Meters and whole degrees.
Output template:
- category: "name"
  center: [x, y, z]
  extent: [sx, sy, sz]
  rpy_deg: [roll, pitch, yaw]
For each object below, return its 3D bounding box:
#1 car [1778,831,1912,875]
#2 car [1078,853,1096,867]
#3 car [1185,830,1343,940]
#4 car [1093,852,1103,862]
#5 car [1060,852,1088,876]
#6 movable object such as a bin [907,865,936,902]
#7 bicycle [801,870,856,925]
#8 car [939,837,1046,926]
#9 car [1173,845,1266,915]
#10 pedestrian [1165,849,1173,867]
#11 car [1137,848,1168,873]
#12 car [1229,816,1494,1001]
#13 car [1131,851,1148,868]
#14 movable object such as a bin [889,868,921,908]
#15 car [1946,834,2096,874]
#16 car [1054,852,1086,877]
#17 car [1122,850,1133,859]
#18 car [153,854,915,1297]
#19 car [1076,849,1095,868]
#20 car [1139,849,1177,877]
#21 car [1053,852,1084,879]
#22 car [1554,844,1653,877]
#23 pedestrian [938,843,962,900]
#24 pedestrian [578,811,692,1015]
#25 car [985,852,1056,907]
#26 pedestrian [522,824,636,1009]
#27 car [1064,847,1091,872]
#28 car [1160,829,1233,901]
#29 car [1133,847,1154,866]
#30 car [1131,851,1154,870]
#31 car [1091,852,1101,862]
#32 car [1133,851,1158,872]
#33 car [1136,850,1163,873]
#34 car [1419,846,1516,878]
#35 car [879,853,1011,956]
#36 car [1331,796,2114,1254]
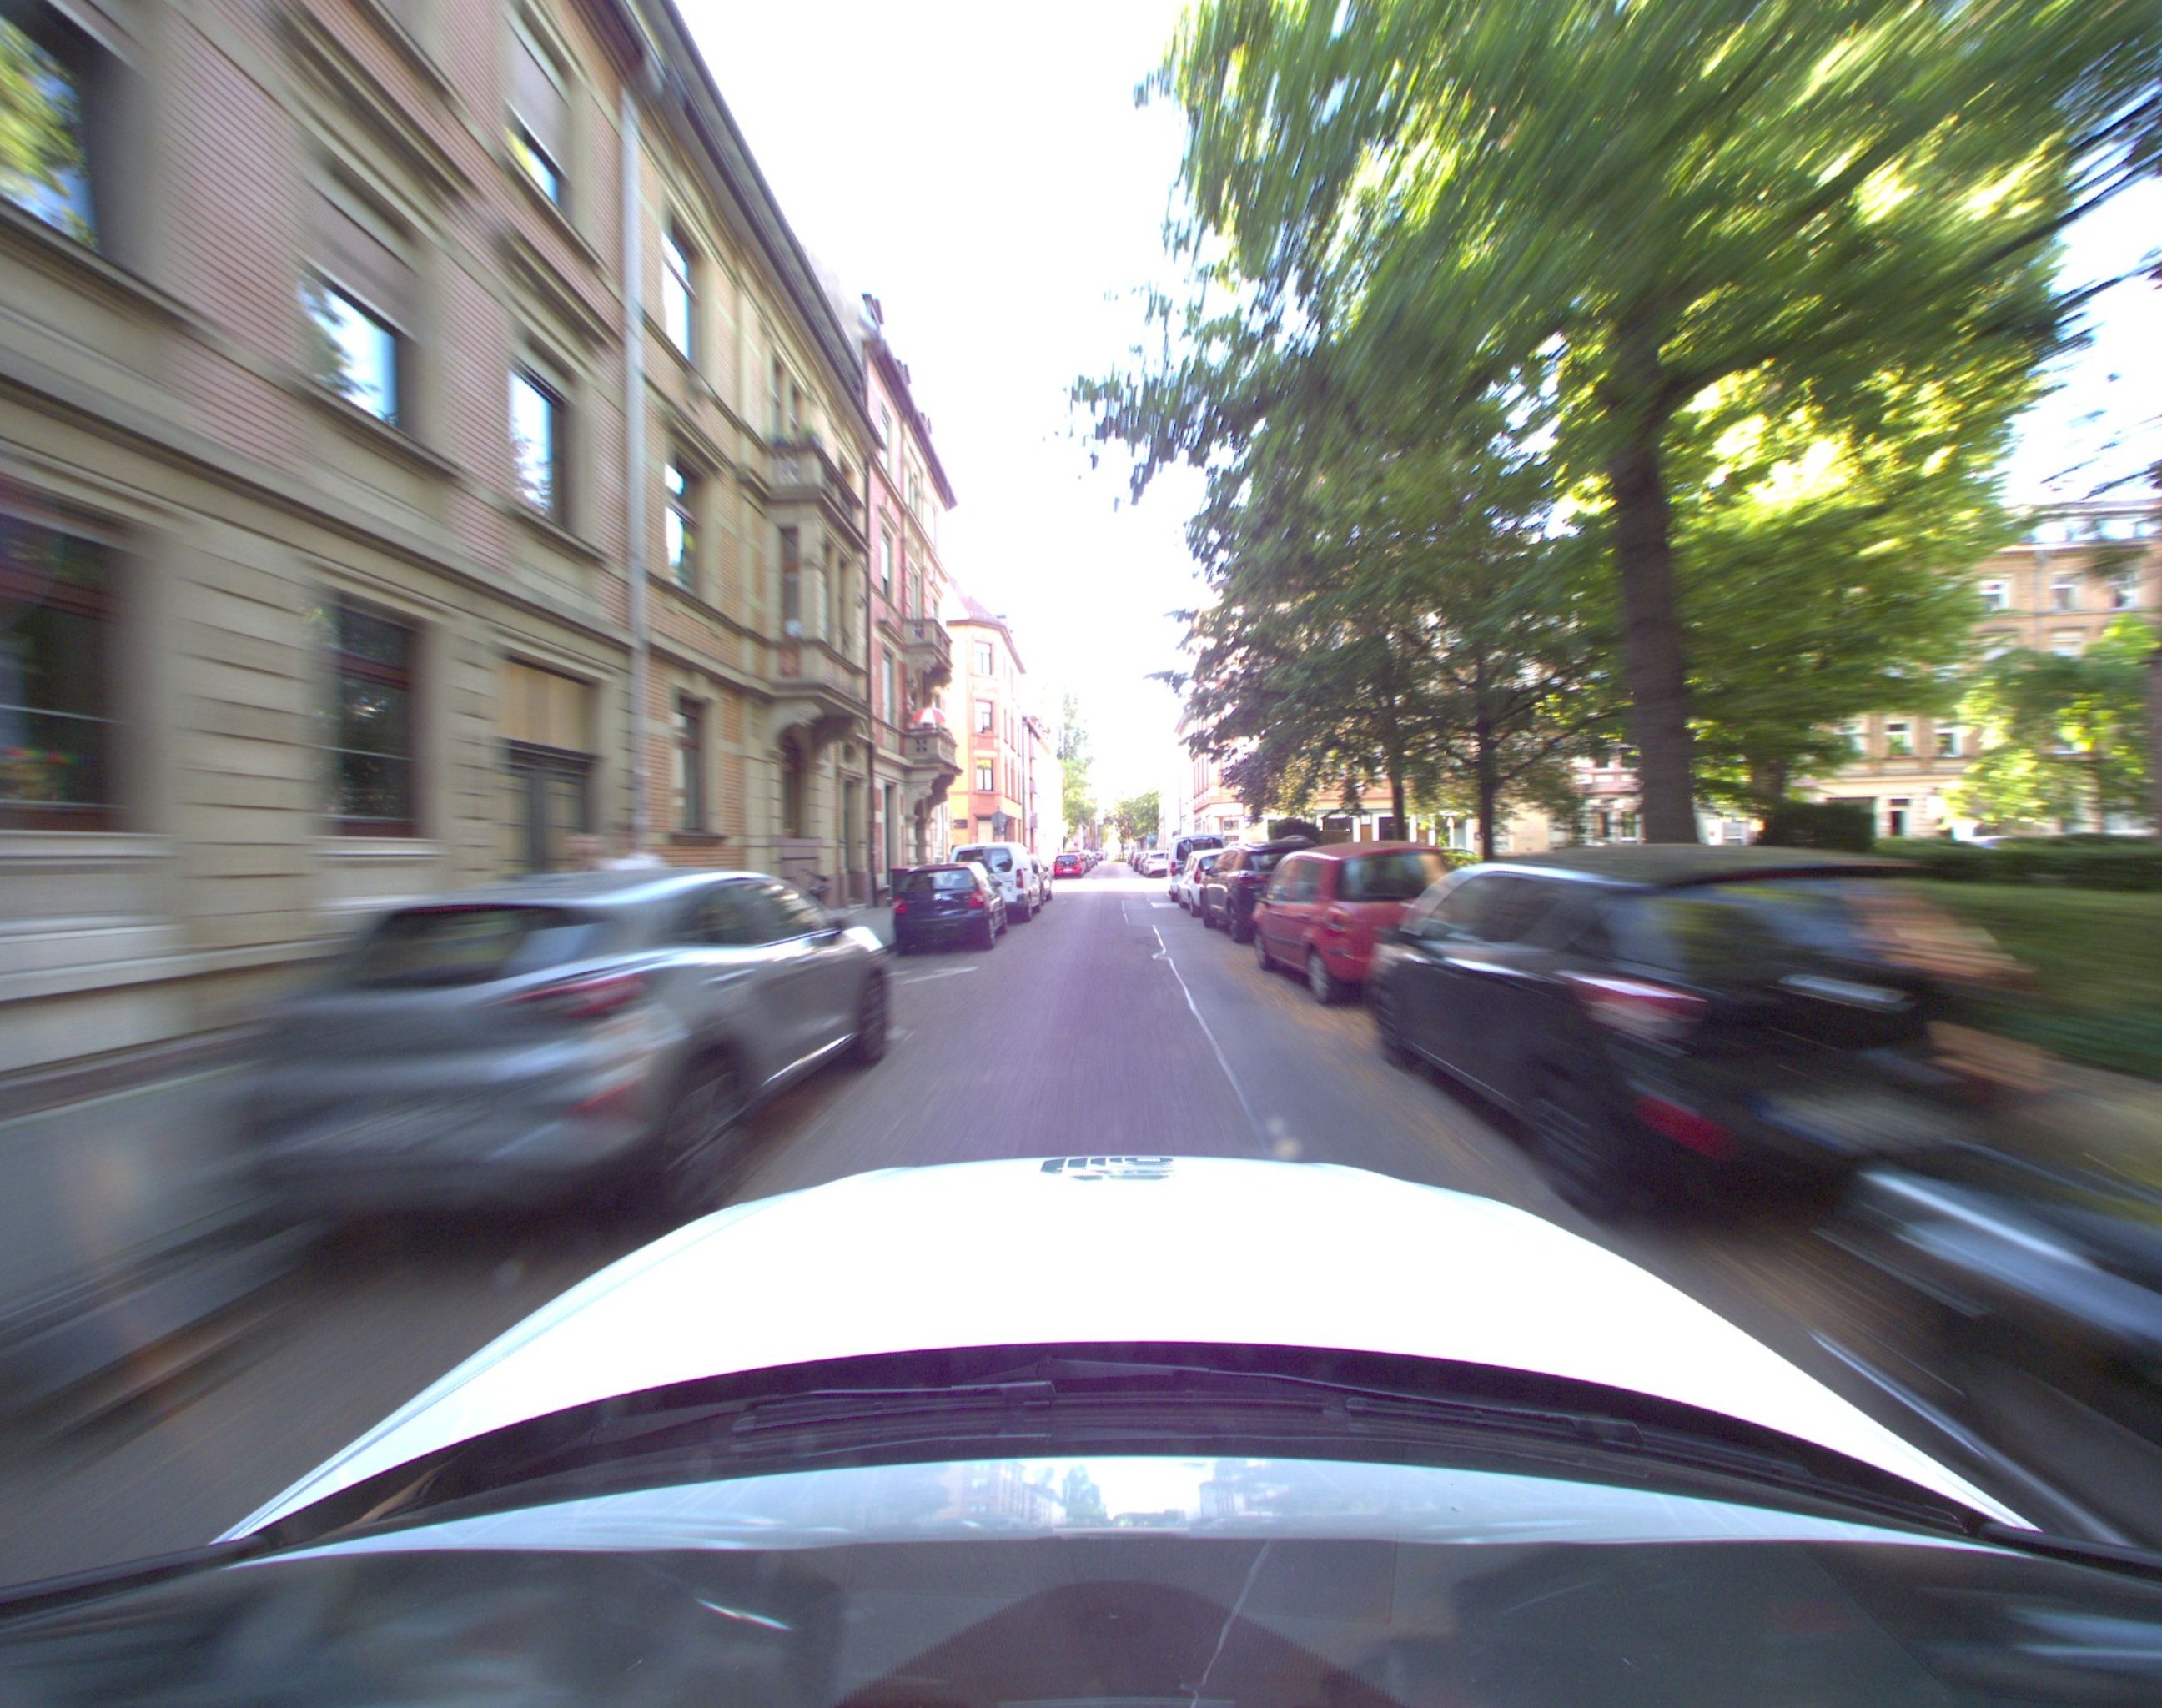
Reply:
- category: "car"
  center: [30.054, -0.014, 32.127]
  extent: [3.510, 1.649, 1.637]
  rpy_deg: [0, -2, 9]
- category: "car"
  center: [0.726, 0.625, 91.991]
  extent: [1.662, 1.469, 3.826]
  rpy_deg: [-3, 0, 5]
- category: "car"
  center: [3.200, 0.519, 15.162]
  extent: [1.735, 1.603, 4.261]
  rpy_deg: [-6, -1, -2]
- category: "car"
  center: [2.920, 0.503, 142.459]
  extent: [1.669, 1.487, 4.096]
  rpy_deg: [-3, 0, 2]
- category: "car"
  center: [-0.491, 0.699, 58.455]
  extent: [1.649, 1.521, 3.948]
  rpy_deg: [-3, 0, 4]
- category: "movable object such as a bin"
  center: [-4.760, 0.876, 24.375]
  extent: [0.635, 1.041, 0.856]
  rpy_deg: [1, 0, 2]
- category: "bicycle"
  center: [-5.130, 0.860, 16.641]
  extent: [0.569, 1.041, 1.547]
  rpy_deg: [1, 0, 2]
- category: "car"
  center: [-1.995, 0.586, 19.714]
  extent: [1.824, 1.811, 4.574]
  rpy_deg: [-3, 0, 2]
- category: "car"
  center: [3.381, 0.586, 20.494]
  extent: [1.713, 1.571, 3.828]
  rpy_deg: [-1, 0, 1]
- category: "pedestrian"
  center: [7.880, 0.351, 72.899]
  extent: [0.683, 1.660, 0.718]
  rpy_deg: [-2, 0, 2]
- category: "car"
  center: [4.712, 0.398, 53.785]
  extent: [1.737, 1.506, 4.022]
  rpy_deg: [-3, 0, 2]
- category: "car"
  center: [3.047, 0.543, 9.749]
  extent: [1.615, 1.624, 3.861]
  rpy_deg: [-6, -1, -2]
- category: "car"
  center: [6.103, 0.550, 85.294]
  extent: [1.669, 1.681, 4.098]
  rpy_deg: [-3, -1, 3]
- category: "movable object such as a bin"
  center: [-4.776, 0.904, 22.179]
  extent: [0.635, 1.041, 0.856]
  rpy_deg: [1, 0, 2]
- category: "car"
  center: [35.970, 0.016, 31.244]
  extent: [3.510, 1.473, 1.637]
  rpy_deg: [0, -2, 9]
- category: "car"
  center: [-0.695, 0.665, 53.634]
  extent: [1.688, 1.521, 4.100]
  rpy_deg: [-3, 0, 4]
- category: "car"
  center: [7.917, 0.063, 138.685]
  extent: [1.669, 1.487, 3.639]
  rpy_deg: [-3, 0, 2]
- category: "car"
  center: [-2.430, 0.812, 5.073]
  extent: [1.760, 1.514, 4.195]
  rpy_deg: [-3, 0, 1]
- category: "car"
  center: [0.446, 0.435, 83.112]
  extent: [1.758, 1.785, 4.040]
  rpy_deg: [-3, 0, 2]
- category: "car"
  center: [4.530, 0.484, 48.190]
  extent: [1.738, 1.506, 4.356]
  rpy_deg: [-3, 0, 0]
- category: "car"
  center: [-0.692, 0.656, 48.834]
  extent: [1.622, 1.481, 3.602]
  rpy_deg: [-3, 0, 2]
- category: "car"
  center: [24.122, 0.318, 37.714]
  extent: [3.510, 1.473, 1.637]
  rpy_deg: [0, -2, 9]
- category: "pedestrian"
  center: [-3.786, 0.511, 23.642]
  extent: [0.546, 1.644, 0.717]
  rpy_deg: [0, -2, 2]
- category: "pedestrian"
  center: [-4.343, 0.553, 7.983]
  extent: [0.576, 1.882, 0.905]
  rpy_deg: [0, -1, 2]
- category: "car"
  center: [-1.783, 0.717, 25.074]
  extent: [1.686, 1.481, 3.974]
  rpy_deg: [-3, 0, 2]
- category: "pedestrian"
  center: [-4.981, 0.602, 8.112]
  extent: [0.698, 1.772, 0.649]
  rpy_deg: [0, -1, 2]
- category: "car"
  center: [-0.235, 0.384, 63.950]
  extent: [1.736, 1.811, 4.677]
  rpy_deg: [-3, 0, 4]
- category: "car"
  center: [3.591, 0.309, 26.017]
  extent: [1.905, 1.998, 4.797]
  rpy_deg: [-3, 0, 4]
- category: "car"
  center: [6.101, 0.254, 79.961]
  extent: [1.670, 1.627, 4.252]
  rpy_deg: [-5, 0, 2]
- category: "car"
  center: [5.151, 0.522, 68.271]
  extent: [1.669, 1.506, 3.939]
  rpy_deg: [-3, 0, 2]
- category: "car"
  center: [2.532, 0.498, 137.330]
  extent: [1.669, 1.487, 4.096]
  rpy_deg: [-3, 0, 2]
- category: "car"
  center: [4.953, 0.555, 63.305]
  extent: [1.669, 1.506, 3.939]
  rpy_deg: [-3, 0, 2]
- category: "car"
  center: [4.910, 0.506, 58.791]
  extent: [1.592, 1.506, 4.186]
  rpy_deg: [-3, 0, 2]
- category: "car"
  center: [18.138, 0.386, 38.385]
  extent: [3.832, 1.473, 1.637]
  rpy_deg: [0, -2, 9]
- category: "car"
  center: [-2.316, 0.793, 14.811]
  extent: [1.687, 1.514, 3.972]
  rpy_deg: [-3, 0, -1]
- category: "car"
  center: [2.857, 0.625, 4.796]
  extent: [1.612, 1.486, 3.778]
  rpy_deg: [-6, -1, 2]
